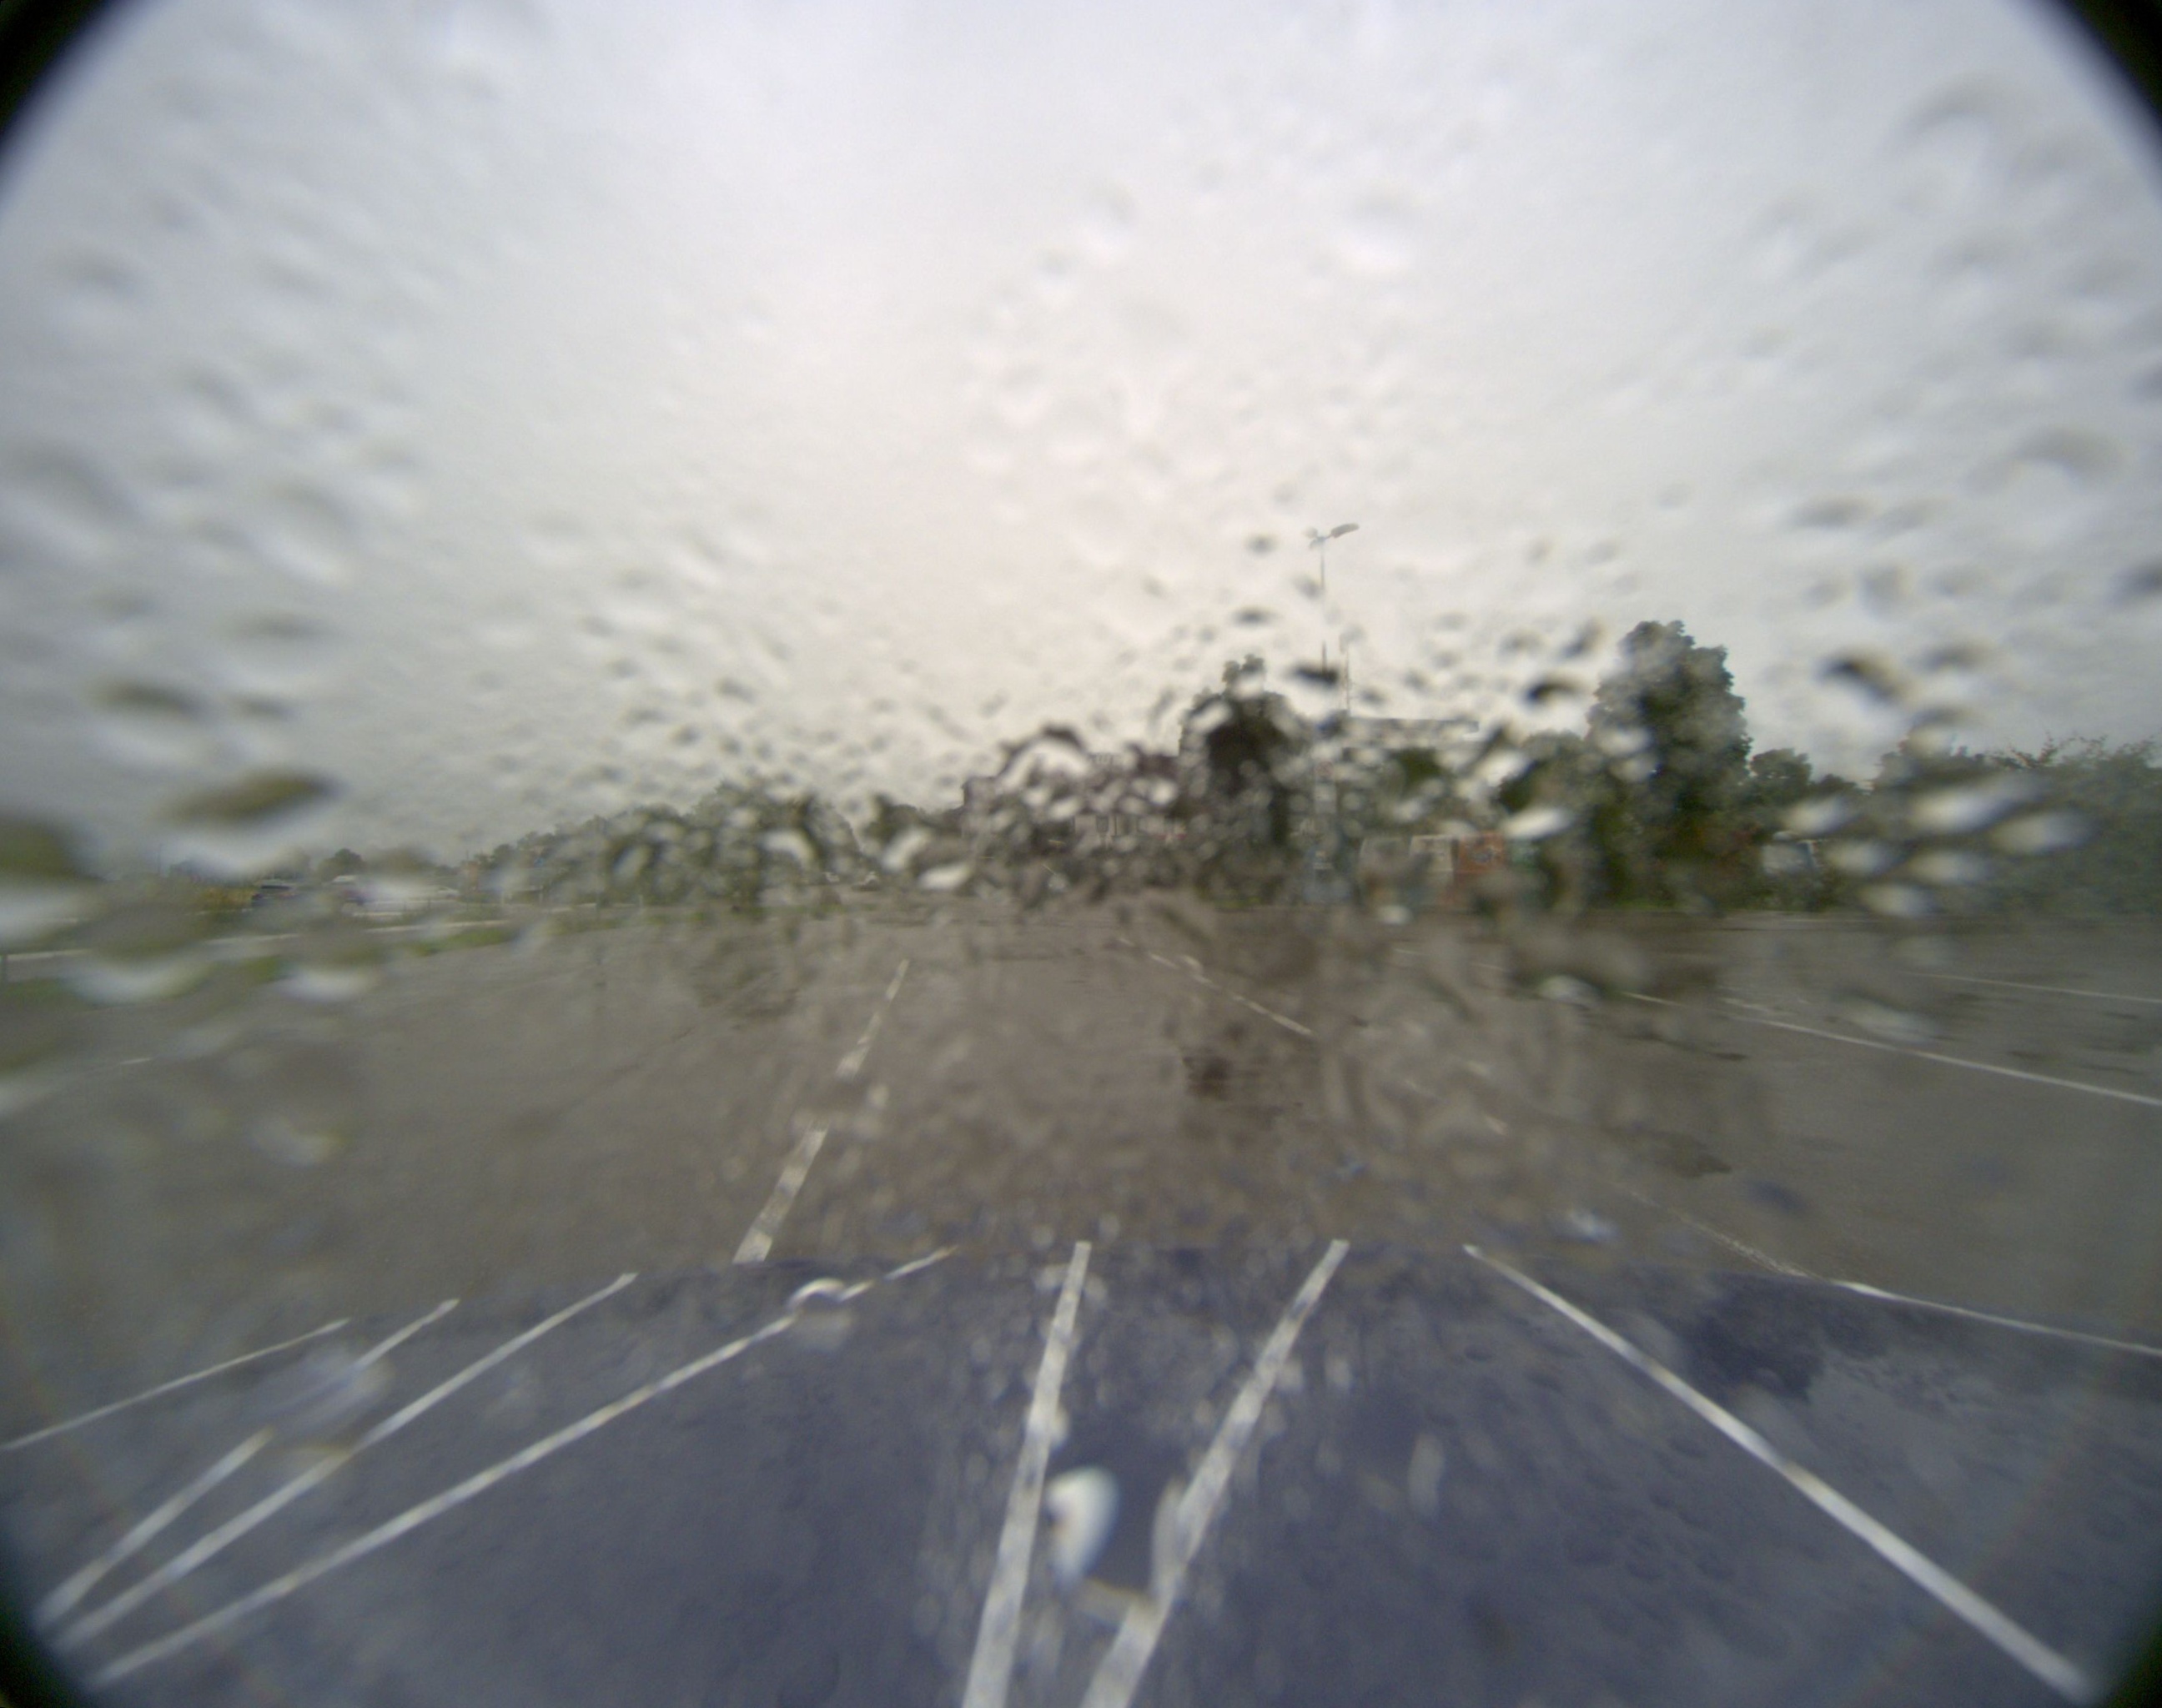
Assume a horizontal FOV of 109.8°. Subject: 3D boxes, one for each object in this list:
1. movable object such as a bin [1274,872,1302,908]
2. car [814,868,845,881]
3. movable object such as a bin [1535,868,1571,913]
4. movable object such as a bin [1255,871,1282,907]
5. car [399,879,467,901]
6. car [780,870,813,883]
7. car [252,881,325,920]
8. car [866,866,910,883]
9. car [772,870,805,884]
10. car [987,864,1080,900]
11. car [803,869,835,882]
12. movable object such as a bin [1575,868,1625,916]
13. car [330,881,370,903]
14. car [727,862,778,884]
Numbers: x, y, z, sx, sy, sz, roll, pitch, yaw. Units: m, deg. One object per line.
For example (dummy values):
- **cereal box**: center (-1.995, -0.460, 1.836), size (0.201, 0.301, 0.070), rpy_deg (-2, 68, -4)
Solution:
- **movable object such as a bin**: center (5.425, 0.933, 19.921), size (0.451, 0.912, 0.487), rpy_deg (-2, 1, -32)
- **car**: center (-30.987, 2.559, 93.689), size (3.670, 1.449, 1.588), rpy_deg (-2, 0, 31)
- **movable object such as a bin**: center (9.913, 0.763, 15.958), size (0.495, 0.915, 0.415), rpy_deg (-2, 0, -22)
- **movable object such as a bin**: center (5.009, 0.934, 20.288), size (0.451, 0.933, 0.487), rpy_deg (-2, 1, -32)
- **car**: center (-59.118, 3.243, 69.395), size (1.745, 1.748, 4.372), rpy_deg (-2, -1, 18)
- **car**: center (-33.235, 2.628, 88.719), size (3.670, 1.449, 1.588), rpy_deg (-2, 0, 31)
- **car**: center (-40.940, 2.341, 39.345), size (1.718, 1.805, 3.706), rpy_deg (-2, 0, -32)
- **car**: center (-19.581, 2.041, 77.229), size (4.191, 1.489, 1.716), rpy_deg (-2, 0, -14)
- **car**: center (-33.401, 2.621, 86.754), size (3.670, 1.449, 1.559), rpy_deg (-2, 0, 31)
- **car**: center (-2.160, 1.225, 33.655), size (4.067, 1.425, 1.783), rpy_deg (-2, 0, 43)
- **car**: center (-31.389, 2.598, 91.113), size (3.670, 1.449, 1.588), rpy_deg (-2, 0, 31)
- **movable object such as a bin**: center (10.443, 0.750, 15.282), size (0.631, 0.915, 0.556), rpy_deg (-2, 0, -22)
- **car**: center (-53.756, 2.804, 55.863), size (3.398, 1.507, 1.519), rpy_deg (-2, 0, 36)
- **car**: center (-33.957, 1.937, 78.681), size (4.537, 2.021, 1.643), rpy_deg (-2, 0, -13)
